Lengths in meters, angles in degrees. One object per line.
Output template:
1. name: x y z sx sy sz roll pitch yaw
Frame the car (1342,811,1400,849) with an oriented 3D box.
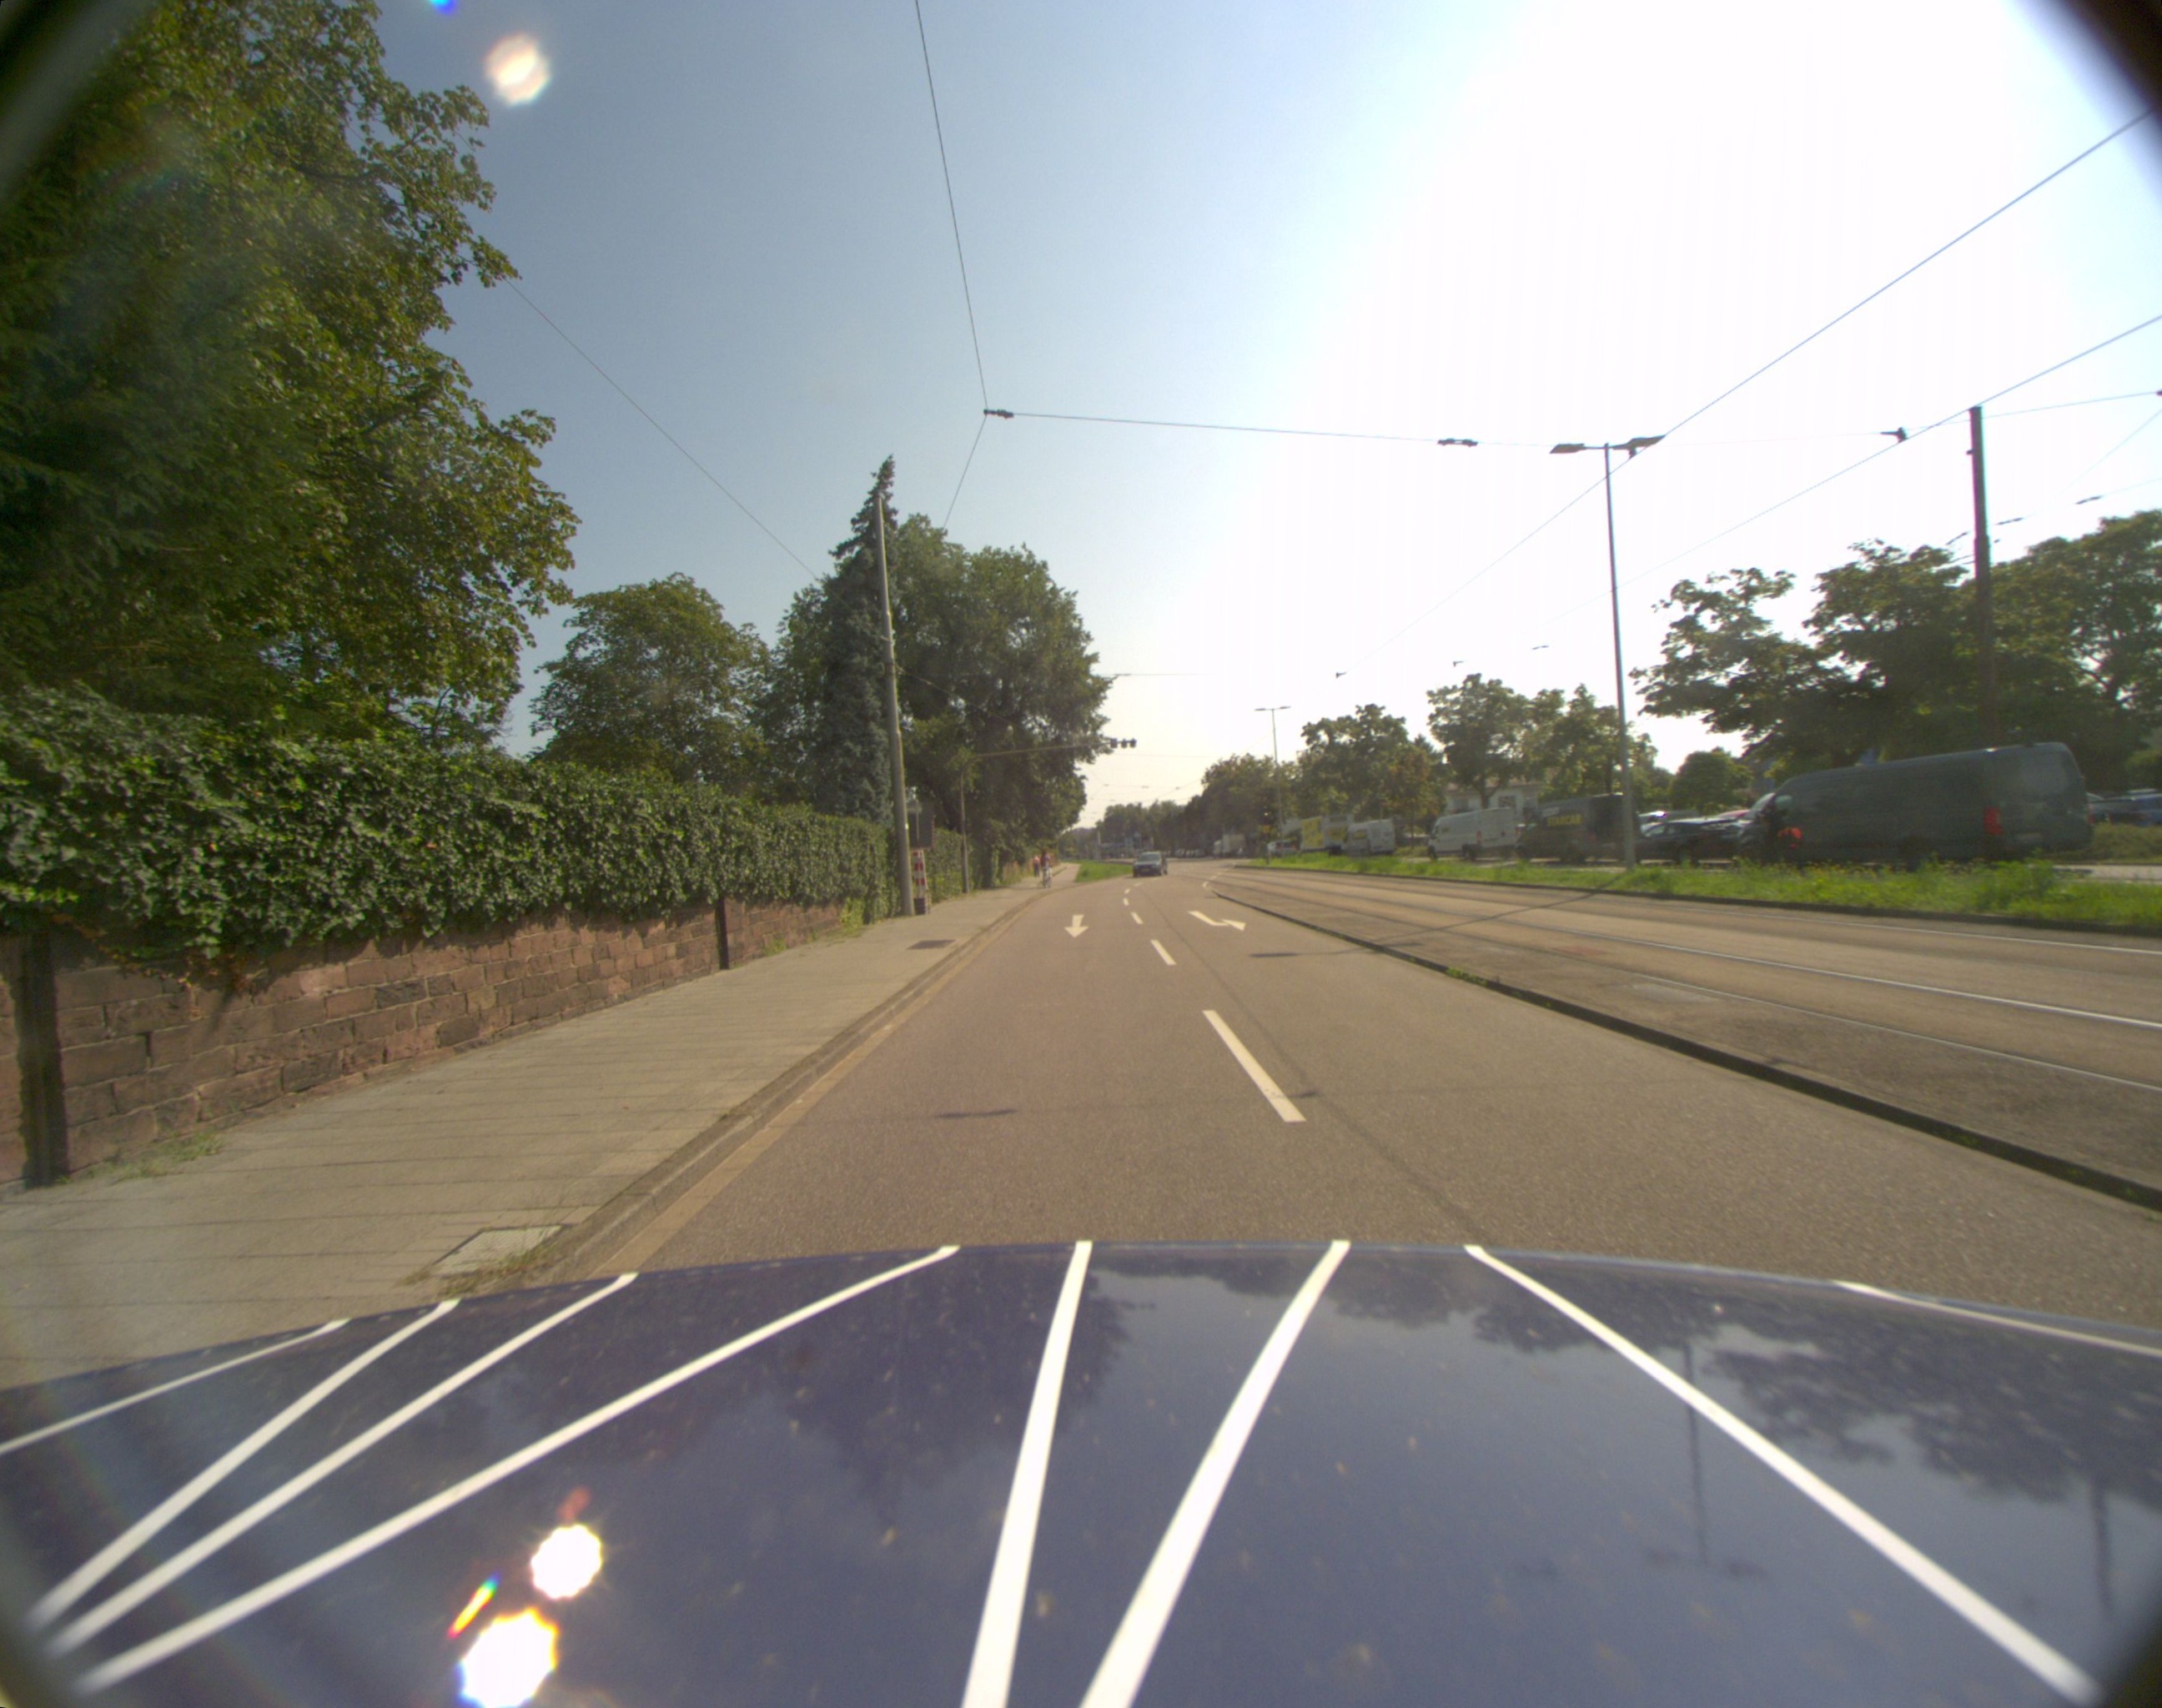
1. car: 20.399 -1.657 53.626 2.148 2.444 4.831 -2 1 0

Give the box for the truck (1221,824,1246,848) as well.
1. truck: 21.302 -2.436 106.458 2.278 3.104 8.787 -2 1 3

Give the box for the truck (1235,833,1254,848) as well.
1. truck: 20.959 -1.736 97.448 1.691 1.762 3.969 -2 1 1

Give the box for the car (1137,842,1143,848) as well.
1. car: 16.816 -2.629 216.867 1.550 1.575 3.455 -2 1 0

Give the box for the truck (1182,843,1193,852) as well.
1. truck: 21.509 -1.351 153.826 1.691 1.665 3.655 -2 1 1

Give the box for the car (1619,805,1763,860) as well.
1. car: 20.036 -0.690 25.189 1.748 1.543 3.834 -4 1 3

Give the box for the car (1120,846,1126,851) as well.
1. car: 13.091 -1.730 235.858 1.550 1.575 3.455 -2 1 0

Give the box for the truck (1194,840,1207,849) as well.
1. truck: 21.508 -1.706 136.762 1.691 1.665 3.655 -2 1 1

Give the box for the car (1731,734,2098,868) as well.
1. car: 19.815 -1.116 18.770 1.993 2.571 6.466 -5 1 2

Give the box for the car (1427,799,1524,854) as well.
1. car: 20.216 -1.366 39.303 2.137 2.571 5.630 -2 1 1

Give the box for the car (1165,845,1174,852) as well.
1. car: 20.935 -1.329 180.135 1.550 1.758 3.645 -2 1 0

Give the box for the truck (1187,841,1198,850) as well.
1. truck: 21.387 -1.614 146.156 1.691 1.665 3.655 -2 1 1

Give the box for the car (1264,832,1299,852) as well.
1. car: 16.168 -0.962 61.476 1.929 1.511 3.949 -2 1 3

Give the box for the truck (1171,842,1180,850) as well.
1. truck: 21.550 -1.876 173.862 1.691 1.665 3.655 -2 1 1

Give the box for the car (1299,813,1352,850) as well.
1. car: 20.162 -1.815 63.037 2.129 2.789 7.230 -2 1 1

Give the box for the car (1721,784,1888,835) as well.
1. car: 30.833 -1.861 32.477 5.198 1.914 2.052 -2 1 0

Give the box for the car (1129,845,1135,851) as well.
1. car: 15.339 -1.879 228.214 1.550 1.575 3.455 -2 1 0

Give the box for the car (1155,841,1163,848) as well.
1. car: 19.725 -2.462 191.904 1.550 1.575 3.455 -2 1 0

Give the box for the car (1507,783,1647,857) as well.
1. car: 20.012 -1.273 31.069 1.826 2.571 5.910 -5 0 2

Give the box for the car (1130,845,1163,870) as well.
1. car: 3.953 0.187 46.663 1.776 1.416 3.935 -2 1 2

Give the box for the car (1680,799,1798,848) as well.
1. car: 30.736 -1.385 35.560 3.997 2.087 1.803 -2 1 -1

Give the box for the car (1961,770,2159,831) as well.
1. car: 30.913 -1.648 24.077 3.997 1.684 1.745 -2 1 1
